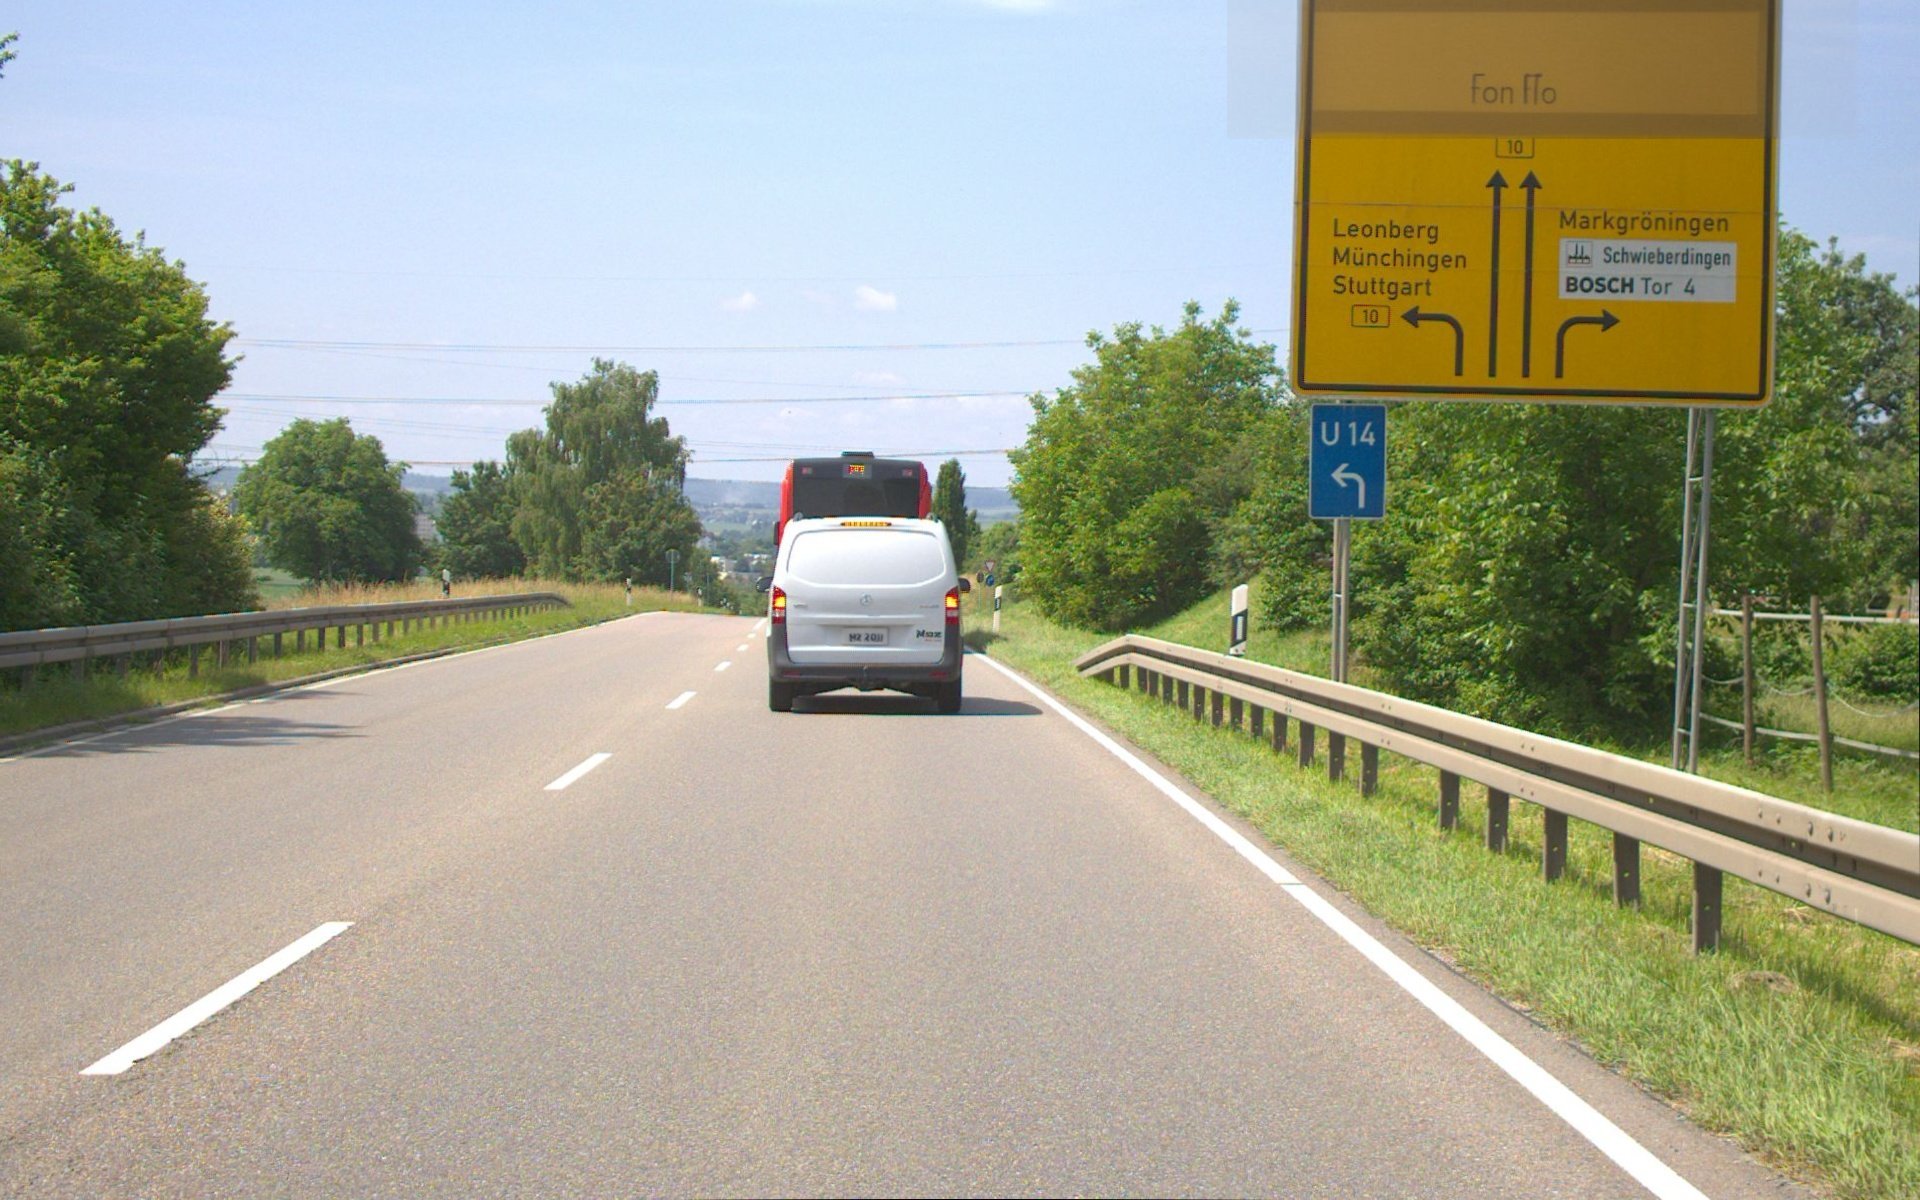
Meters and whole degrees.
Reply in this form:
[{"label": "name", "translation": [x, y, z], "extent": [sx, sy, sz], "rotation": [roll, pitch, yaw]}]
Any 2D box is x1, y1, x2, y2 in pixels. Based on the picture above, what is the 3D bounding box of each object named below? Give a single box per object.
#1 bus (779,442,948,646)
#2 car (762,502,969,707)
[{"label": "bus", "translation": [-1.832, -1.109, 62.884], "extent": [2.747, 3.342, 13.223], "rotation": [0, 2, -2]}, {"label": "car", "translation": [-0.979, -0.013, 34.362], "extent": [1.923, 1.883, 4.001], "rotation": [1, 2, -3]}]
